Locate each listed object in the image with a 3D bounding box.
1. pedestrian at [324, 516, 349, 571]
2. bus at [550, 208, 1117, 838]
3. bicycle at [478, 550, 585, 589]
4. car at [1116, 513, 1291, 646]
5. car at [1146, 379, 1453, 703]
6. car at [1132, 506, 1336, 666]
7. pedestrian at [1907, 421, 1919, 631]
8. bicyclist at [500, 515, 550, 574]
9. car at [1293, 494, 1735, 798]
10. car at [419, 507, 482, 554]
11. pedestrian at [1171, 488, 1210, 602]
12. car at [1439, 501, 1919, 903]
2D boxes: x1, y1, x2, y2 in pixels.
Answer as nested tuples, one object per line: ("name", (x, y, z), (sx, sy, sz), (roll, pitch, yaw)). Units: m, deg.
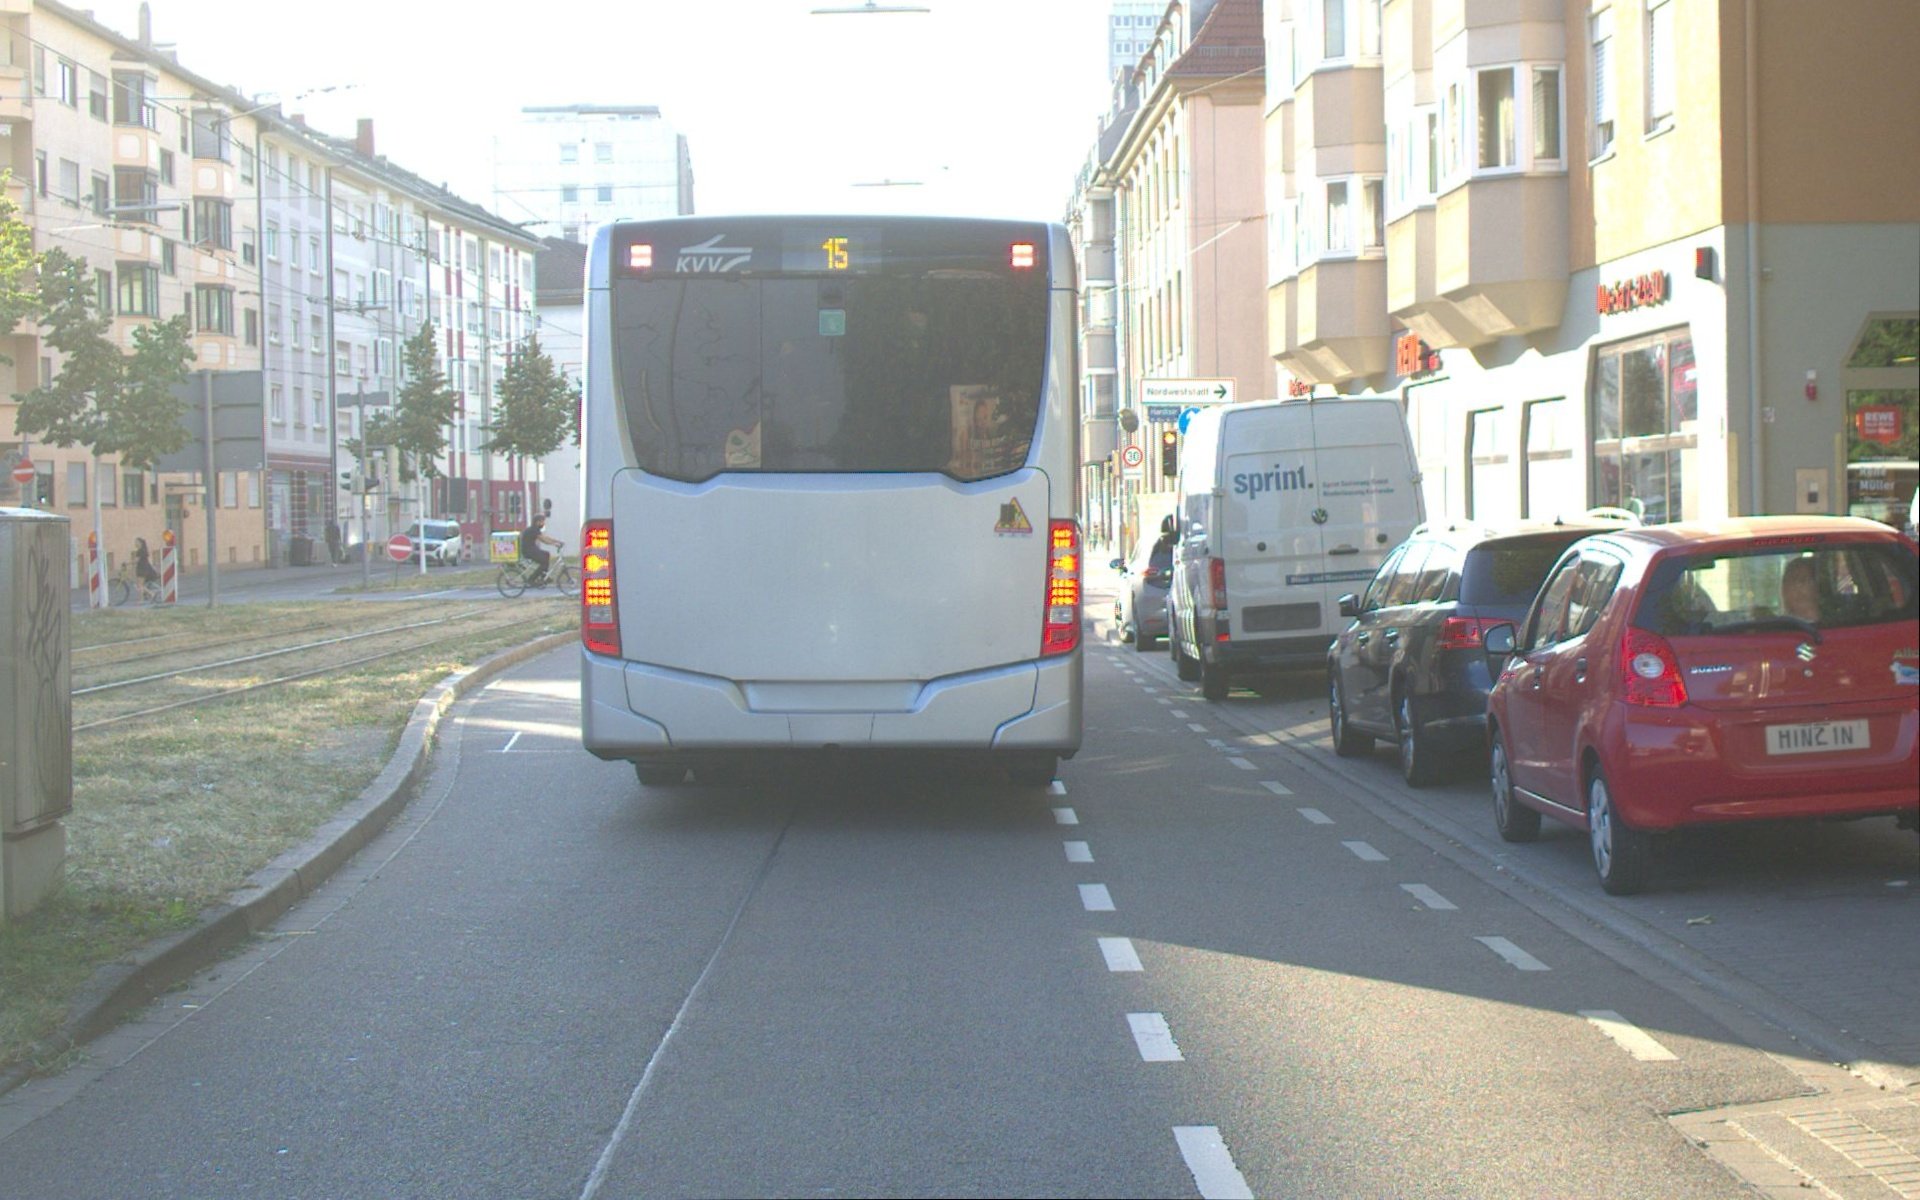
("pedestrian", (-22.645, -2.057, 124.878), (0.786, 2.007, 0.891), (-1, 1, -3))
("bus", (-0.642, -0.478, 21.183), (2.738, 3.045, 8.854), (1, 1, 0))
("bicycle", (-8.572, -0.618, 68.710), (2.062, 0.730, 0.763), (-1, 1, -11))
("car", (2.973, -0.297, 42.793), (1.838, 1.531, 4.230), (-1, 1, 0))
("car", (2.974, -0.556, 31.419), (2.017, 2.542, 5.785), (-4, 1, 0))
("car", (2.874, -0.191, 36.733), (1.838, 1.582, 3.786), (-1, 1, 0))
("pedestrian", (7.552, -0.472, 25.367), (0.806, 1.745, 0.768), (-4, 2, 0))
("bicyclist", (-8.688, -1.104, 68.686), (0.932, 1.157, 0.644), (-1, 1, -11))
("car", (3.204, 0.196, 20.796), (1.696, 1.525, 4.653), (-4, 1, -2))
("car", (-20.249, -2.767, 136.698), (1.812, 1.791, 4.245), (-1, 1, 1))
("pedestrian", (3.617, -0.867, 54.006), (0.547, 1.778, 0.449), (-1, 1, 1))
("car", (3.227, 0.351, 15.137), (1.569, 1.489, 3.626), (-3, 1, -2))
